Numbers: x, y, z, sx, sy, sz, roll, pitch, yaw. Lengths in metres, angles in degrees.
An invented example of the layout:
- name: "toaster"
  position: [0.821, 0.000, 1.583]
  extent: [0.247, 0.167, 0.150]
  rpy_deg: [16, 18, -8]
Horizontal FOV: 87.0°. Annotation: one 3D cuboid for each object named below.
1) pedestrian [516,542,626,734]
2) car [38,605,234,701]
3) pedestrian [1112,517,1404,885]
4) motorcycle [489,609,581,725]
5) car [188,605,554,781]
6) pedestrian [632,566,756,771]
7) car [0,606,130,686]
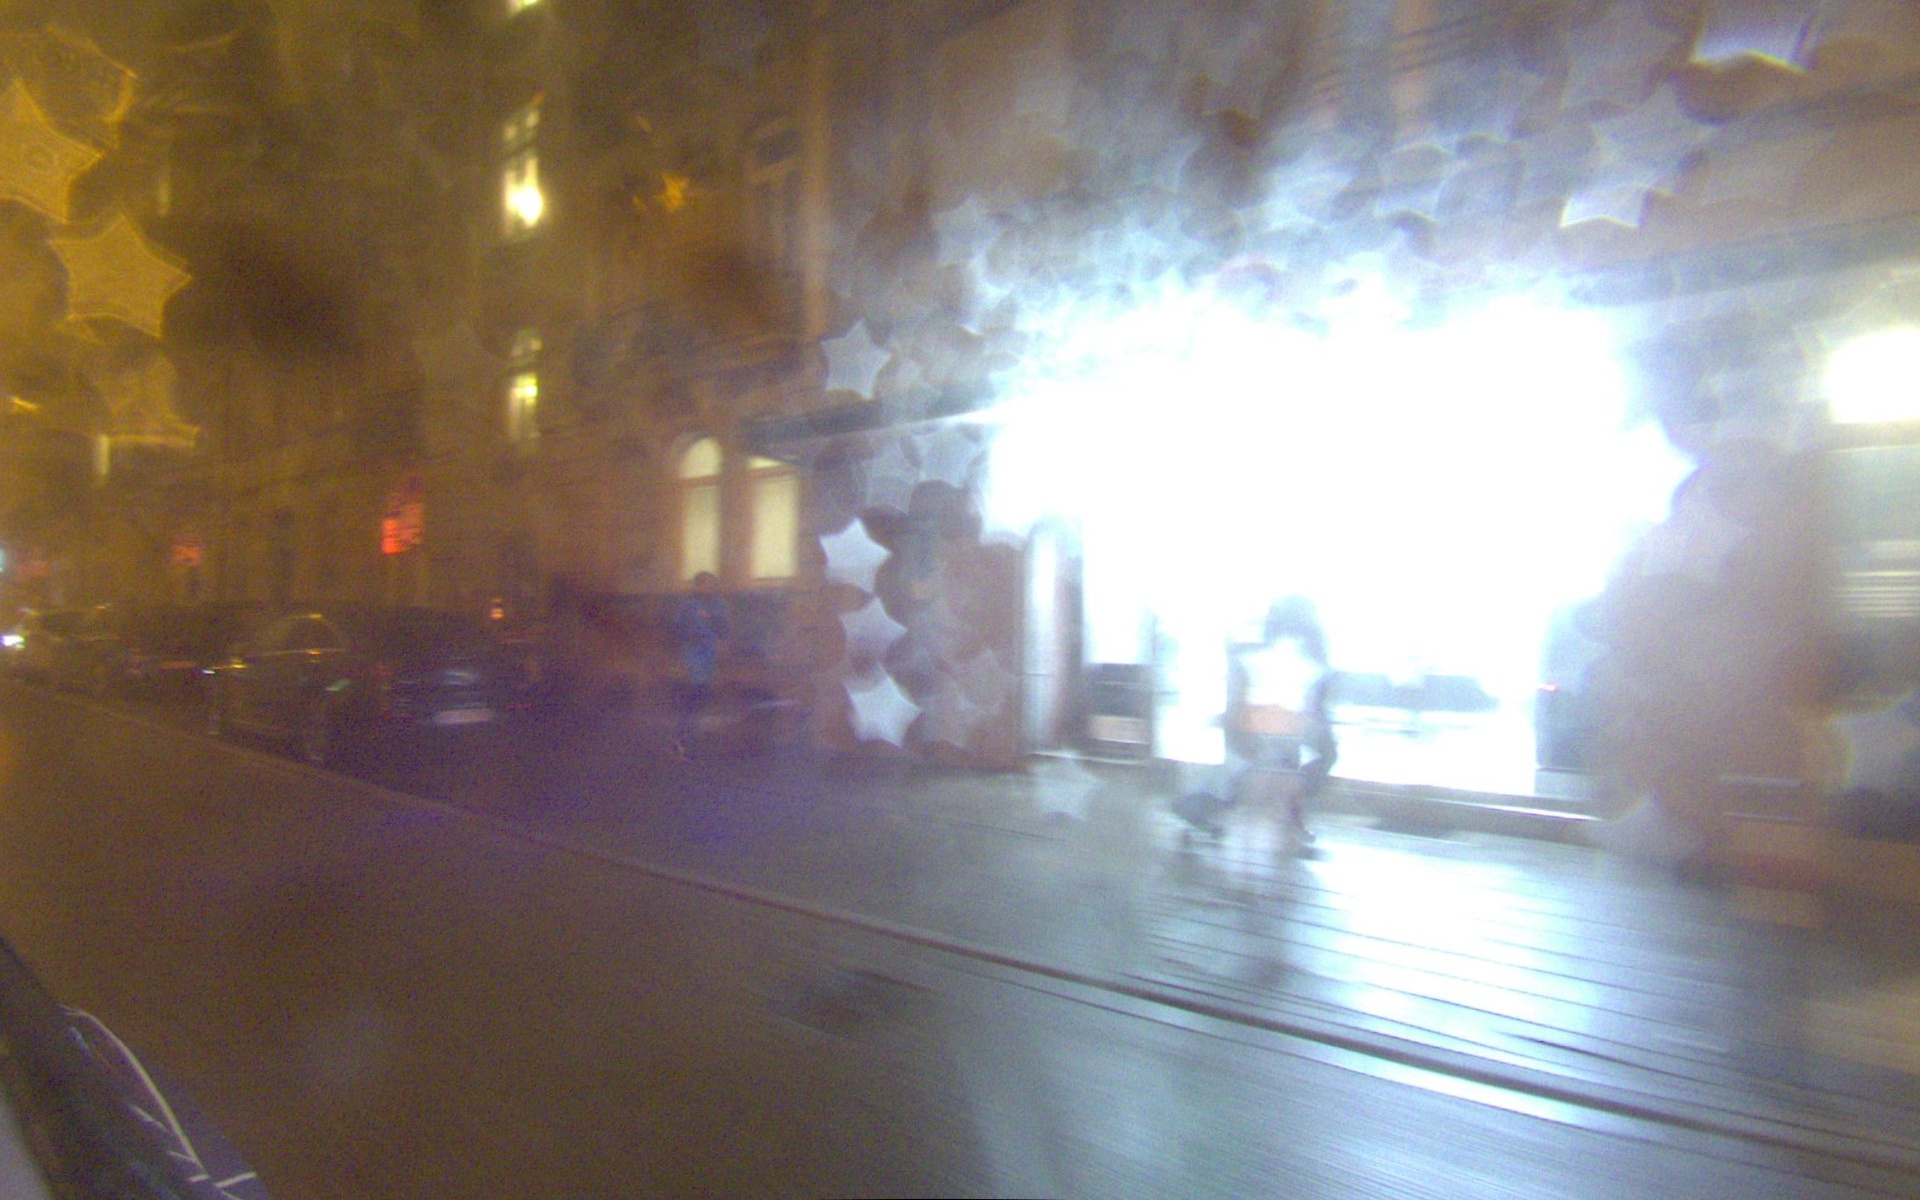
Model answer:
- name: "pedestrian"
  position: [-4.832, 0.458, 12.577]
  extent: [1.115, 2.258, 0.791]
  rpy_deg: [-1, -2, 39]
- name: "car"
  position: [-14.492, 0.856, 17.726]
  extent: [4.152, 1.489, 1.700]
  rpy_deg: [0, -1, 37]
- name: "pedestrian"
  position: [1.753, 0.529, 5.997]
  extent: [1.413, 1.877, 0.946]
  rpy_deg: [-1, -2, 39]
- name: "motorcycle"
  position: [-5.736, 0.864, 13.629]
  extent: [1.456, 1.482, 0.531]
  rpy_deg: [-1, 0, 39]
- name: "car"
  position: [-6.510, 0.819, 10.910]
  extent: [5.027, 1.489, 1.828]
  rpy_deg: [-1, -1, 40]
- name: "pedestrian"
  position: [-2.562, 0.620, 9.712]
  extent: [1.077, 1.846, 0.667]
  rpy_deg: [-1, 0, 42]
- name: "car"
  position: [-18.628, 0.893, 20.954]
  extent: [3.785, 1.489, 1.698]
  rpy_deg: [-1, 0, 42]
